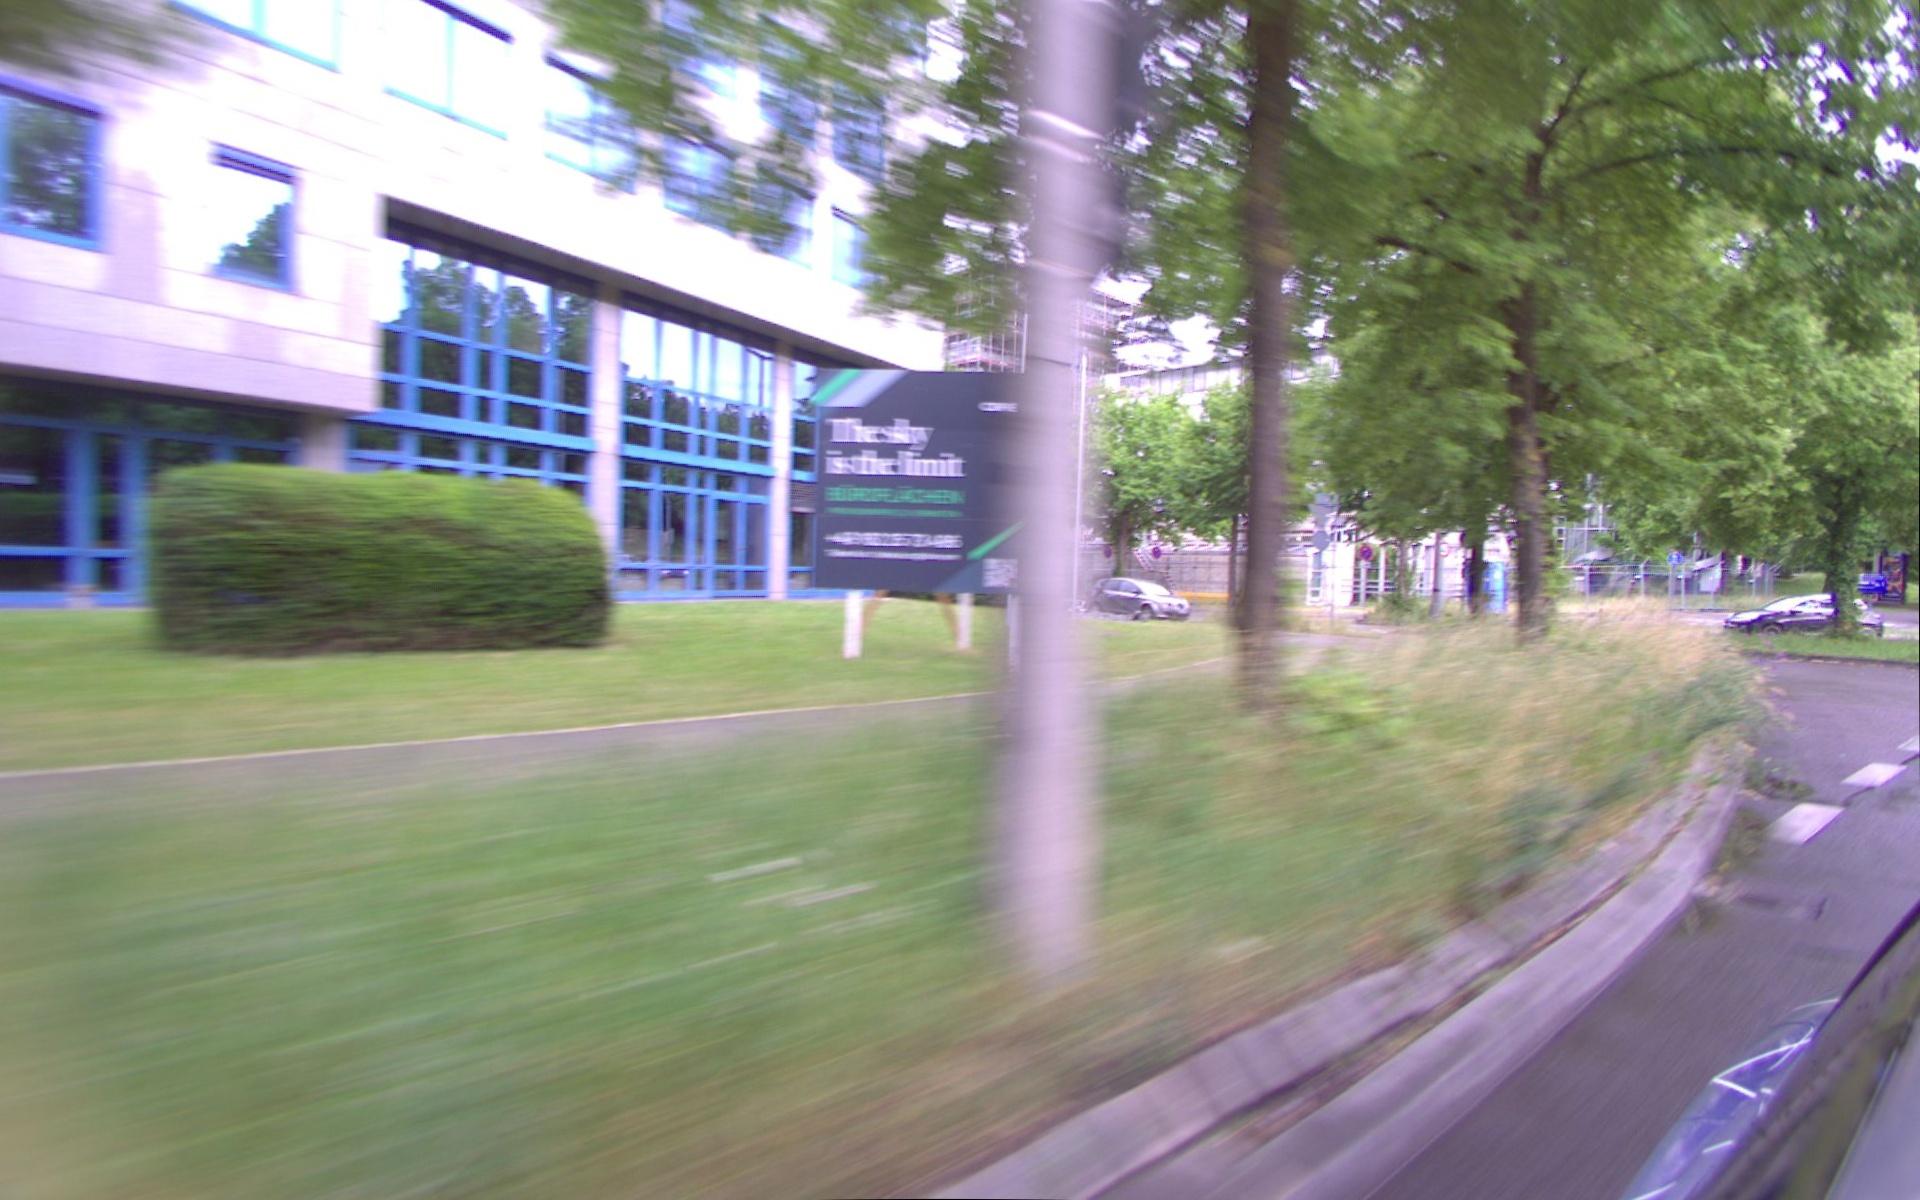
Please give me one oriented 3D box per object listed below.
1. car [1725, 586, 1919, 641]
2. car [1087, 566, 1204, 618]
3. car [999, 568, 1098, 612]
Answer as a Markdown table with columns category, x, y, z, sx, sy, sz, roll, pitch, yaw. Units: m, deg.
| category | x | y | z | sx | sy | sz | roll | pitch | yaw |
| --- | --- | --- | --- | --- | --- | --- | --- | --- | --- |
| car | 25.332 | 0.361 | 29.581 | 4.368 | 1.451 | 1.703 | 1 | 1 | 17 |
| car | 6.579 | -0.315 | 36.240 | 1.723 | 1.662 | 4.113 | 2 | 1 | -33 |
| car | 3.482 | -0.414 | 40.525 | 1.723 | 1.598 | 4.113 | 2 | 1 | -33 |
